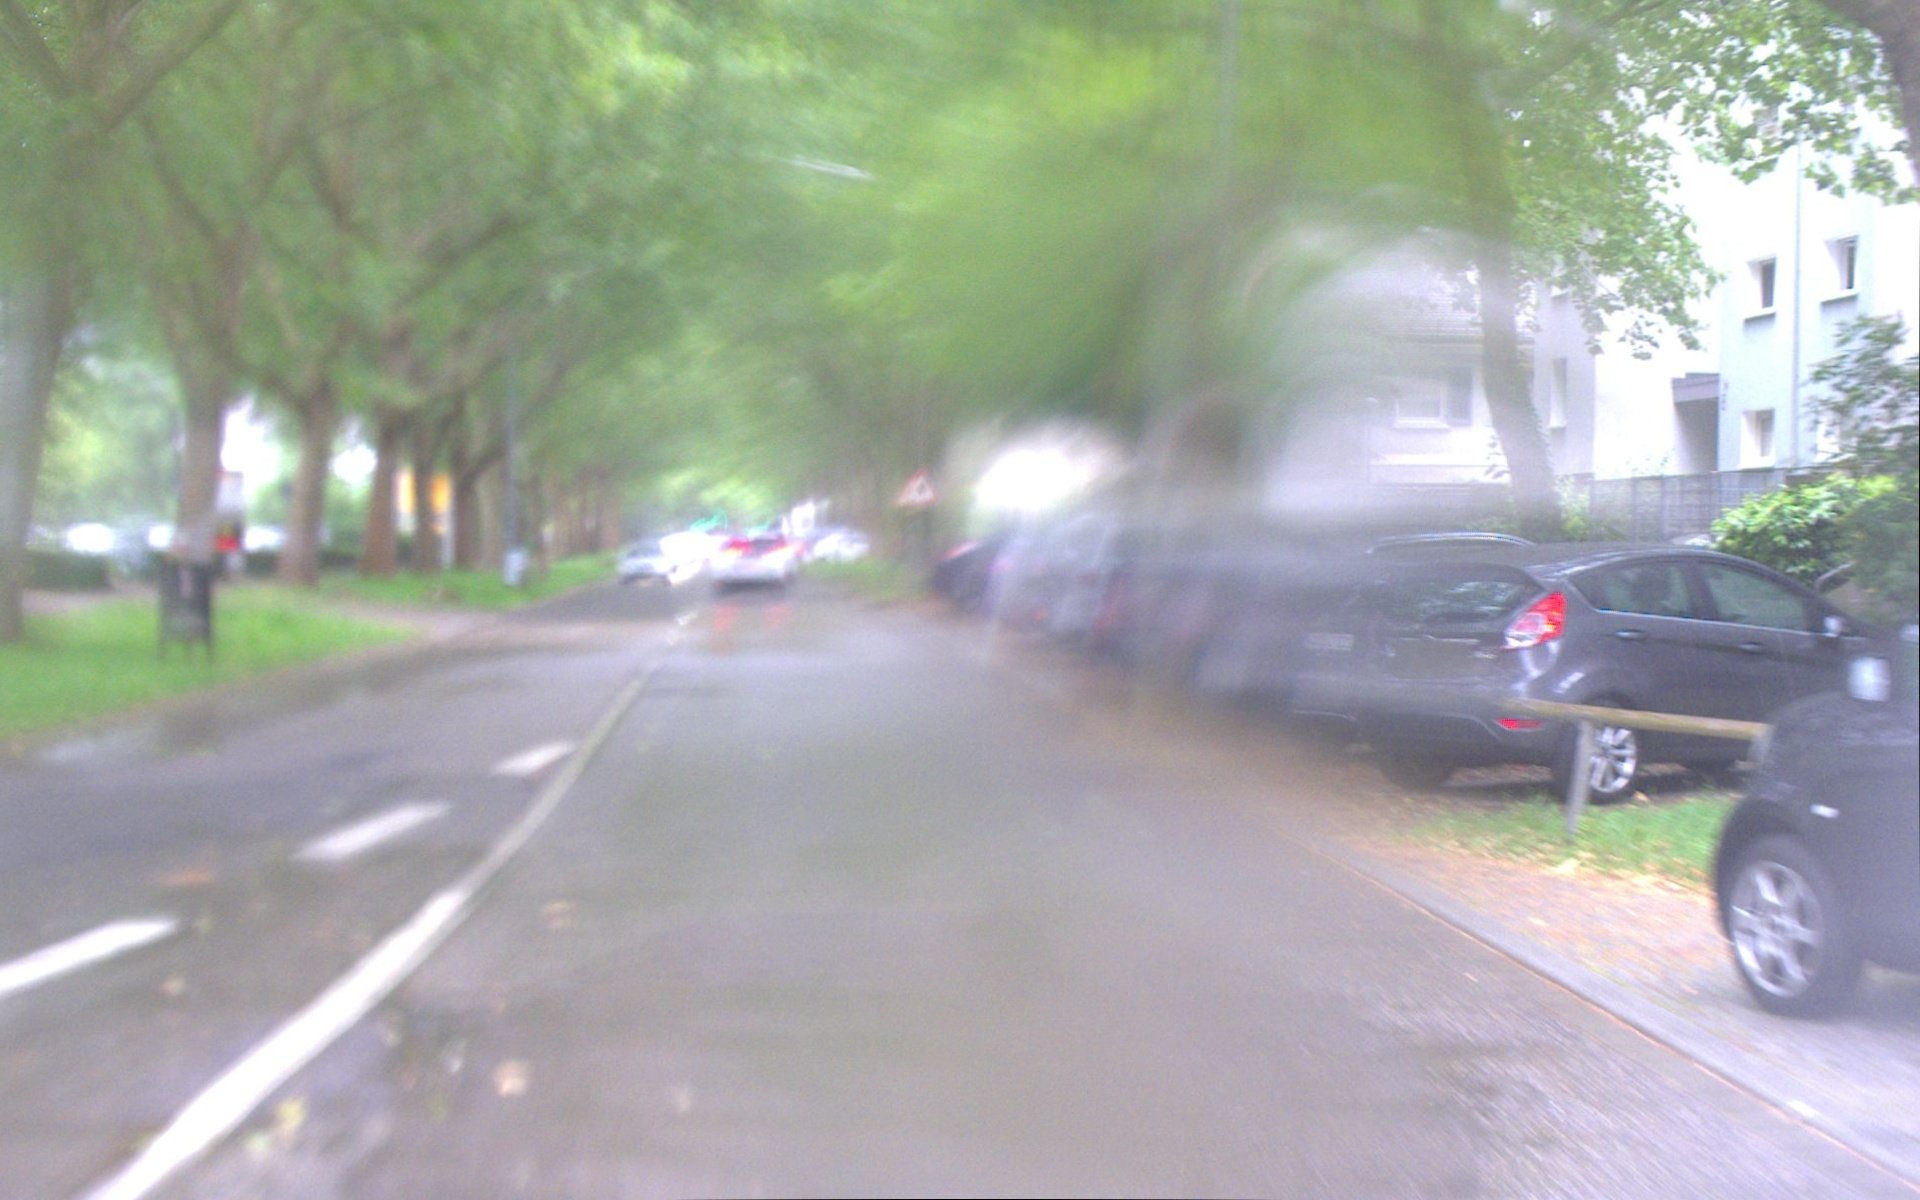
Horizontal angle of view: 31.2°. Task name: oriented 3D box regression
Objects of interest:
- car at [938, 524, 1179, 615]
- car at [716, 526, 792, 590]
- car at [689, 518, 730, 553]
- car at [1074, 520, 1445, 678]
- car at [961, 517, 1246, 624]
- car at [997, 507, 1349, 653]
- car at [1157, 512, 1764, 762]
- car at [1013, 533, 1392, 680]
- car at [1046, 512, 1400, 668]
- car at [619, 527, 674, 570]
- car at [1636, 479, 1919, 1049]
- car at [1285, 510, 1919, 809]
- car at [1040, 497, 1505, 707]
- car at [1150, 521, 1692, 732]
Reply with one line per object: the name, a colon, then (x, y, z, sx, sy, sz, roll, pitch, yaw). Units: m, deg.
car: (1.707, -0.542, 60.520, 4.040, 1.525, 1.781, 1, 2, -5)
car: (-4.888, -1.013, 81.564, 1.706, 1.406, 3.645, -1, 2, -3)
car: (-10.935, -2.825, 150.124, 1.706, 1.406, 3.645, -1, 2, -3)
car: (3.092, -0.029, 36.048, 3.703, 1.531, 1.738, -1, 2, 0)
car: (2.131, -0.456, 51.604, 4.034, 1.436, 1.686, -2, 2, -6)
car: (2.723, -0.273, 44.579, 4.337, 1.756, 1.819, 1, 1, -3)
car: (3.542, 0.232, 24.138, 3.987, 1.596, 1.803, 0, 2, -33)
car: (2.684, 0.055, 38.700, 3.986, 1.507, 1.801, 1, 2, -5)
car: (3.105, -0.135, 41.114, 3.986, 1.721, 1.801, 1, 1, -2)
car: (-10.774, -1.790, 118.376, 1.678, 1.384, 4.550, -1, 2, -3)
car: (3.554, 0.484, 10.315, 1.686, 1.647, 2.947, 1, 2, -19)
car: (3.987, 0.315, 20.395, 3.757, 1.596, 1.803, 0, 2, -33)
car: (2.862, -0.036, 31.325, 3.855, 1.691, 1.838, -3, 3, -31)
car: (3.818, 0.201, 28.385, 3.987, 1.596, 2.036, 0, 2, -30)
